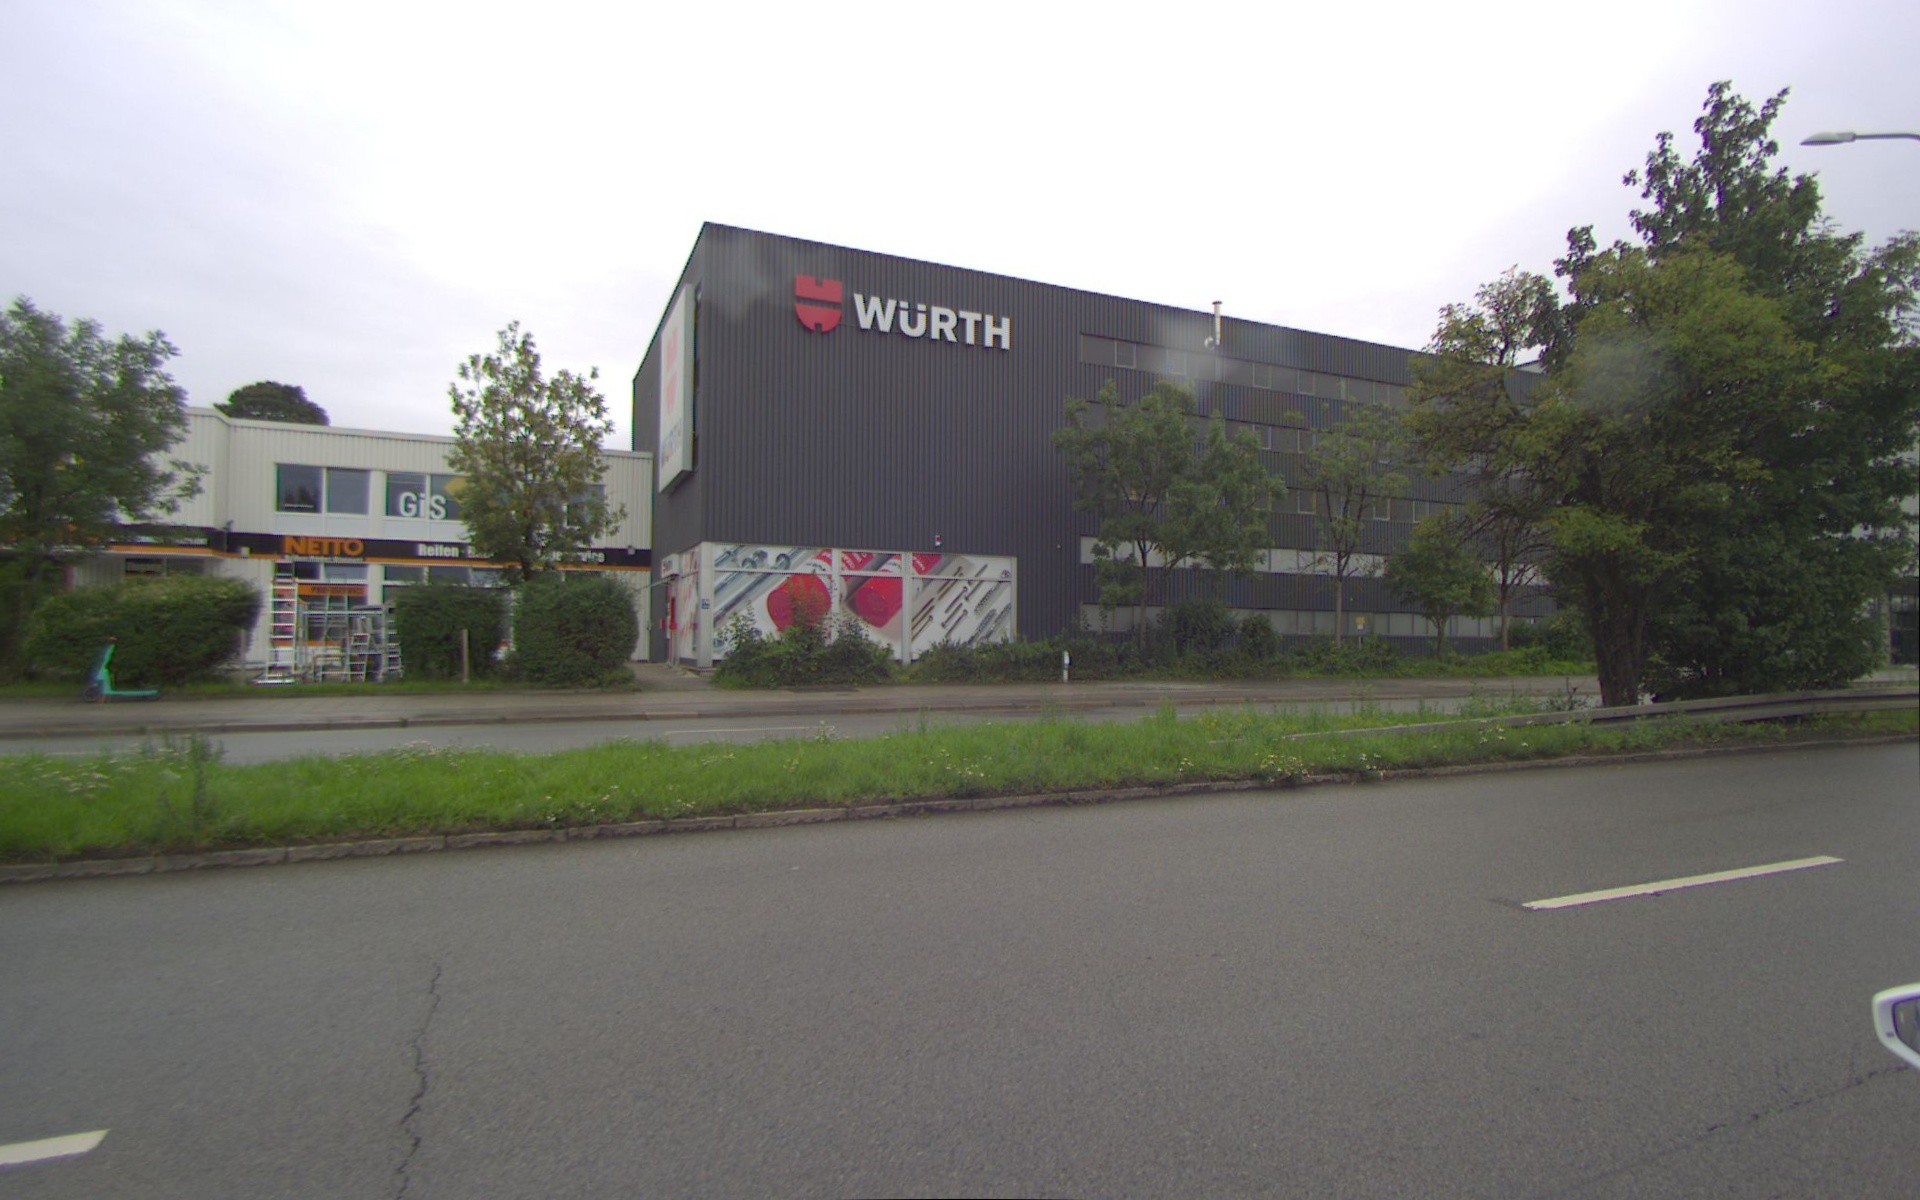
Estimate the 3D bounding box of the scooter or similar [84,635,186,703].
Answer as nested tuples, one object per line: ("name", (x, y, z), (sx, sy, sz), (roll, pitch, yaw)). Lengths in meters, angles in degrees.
("scooter or similar", (-15.470, 1.284, 18.866), (1.369, 1.243, 0.444), (1, -2, -27))
